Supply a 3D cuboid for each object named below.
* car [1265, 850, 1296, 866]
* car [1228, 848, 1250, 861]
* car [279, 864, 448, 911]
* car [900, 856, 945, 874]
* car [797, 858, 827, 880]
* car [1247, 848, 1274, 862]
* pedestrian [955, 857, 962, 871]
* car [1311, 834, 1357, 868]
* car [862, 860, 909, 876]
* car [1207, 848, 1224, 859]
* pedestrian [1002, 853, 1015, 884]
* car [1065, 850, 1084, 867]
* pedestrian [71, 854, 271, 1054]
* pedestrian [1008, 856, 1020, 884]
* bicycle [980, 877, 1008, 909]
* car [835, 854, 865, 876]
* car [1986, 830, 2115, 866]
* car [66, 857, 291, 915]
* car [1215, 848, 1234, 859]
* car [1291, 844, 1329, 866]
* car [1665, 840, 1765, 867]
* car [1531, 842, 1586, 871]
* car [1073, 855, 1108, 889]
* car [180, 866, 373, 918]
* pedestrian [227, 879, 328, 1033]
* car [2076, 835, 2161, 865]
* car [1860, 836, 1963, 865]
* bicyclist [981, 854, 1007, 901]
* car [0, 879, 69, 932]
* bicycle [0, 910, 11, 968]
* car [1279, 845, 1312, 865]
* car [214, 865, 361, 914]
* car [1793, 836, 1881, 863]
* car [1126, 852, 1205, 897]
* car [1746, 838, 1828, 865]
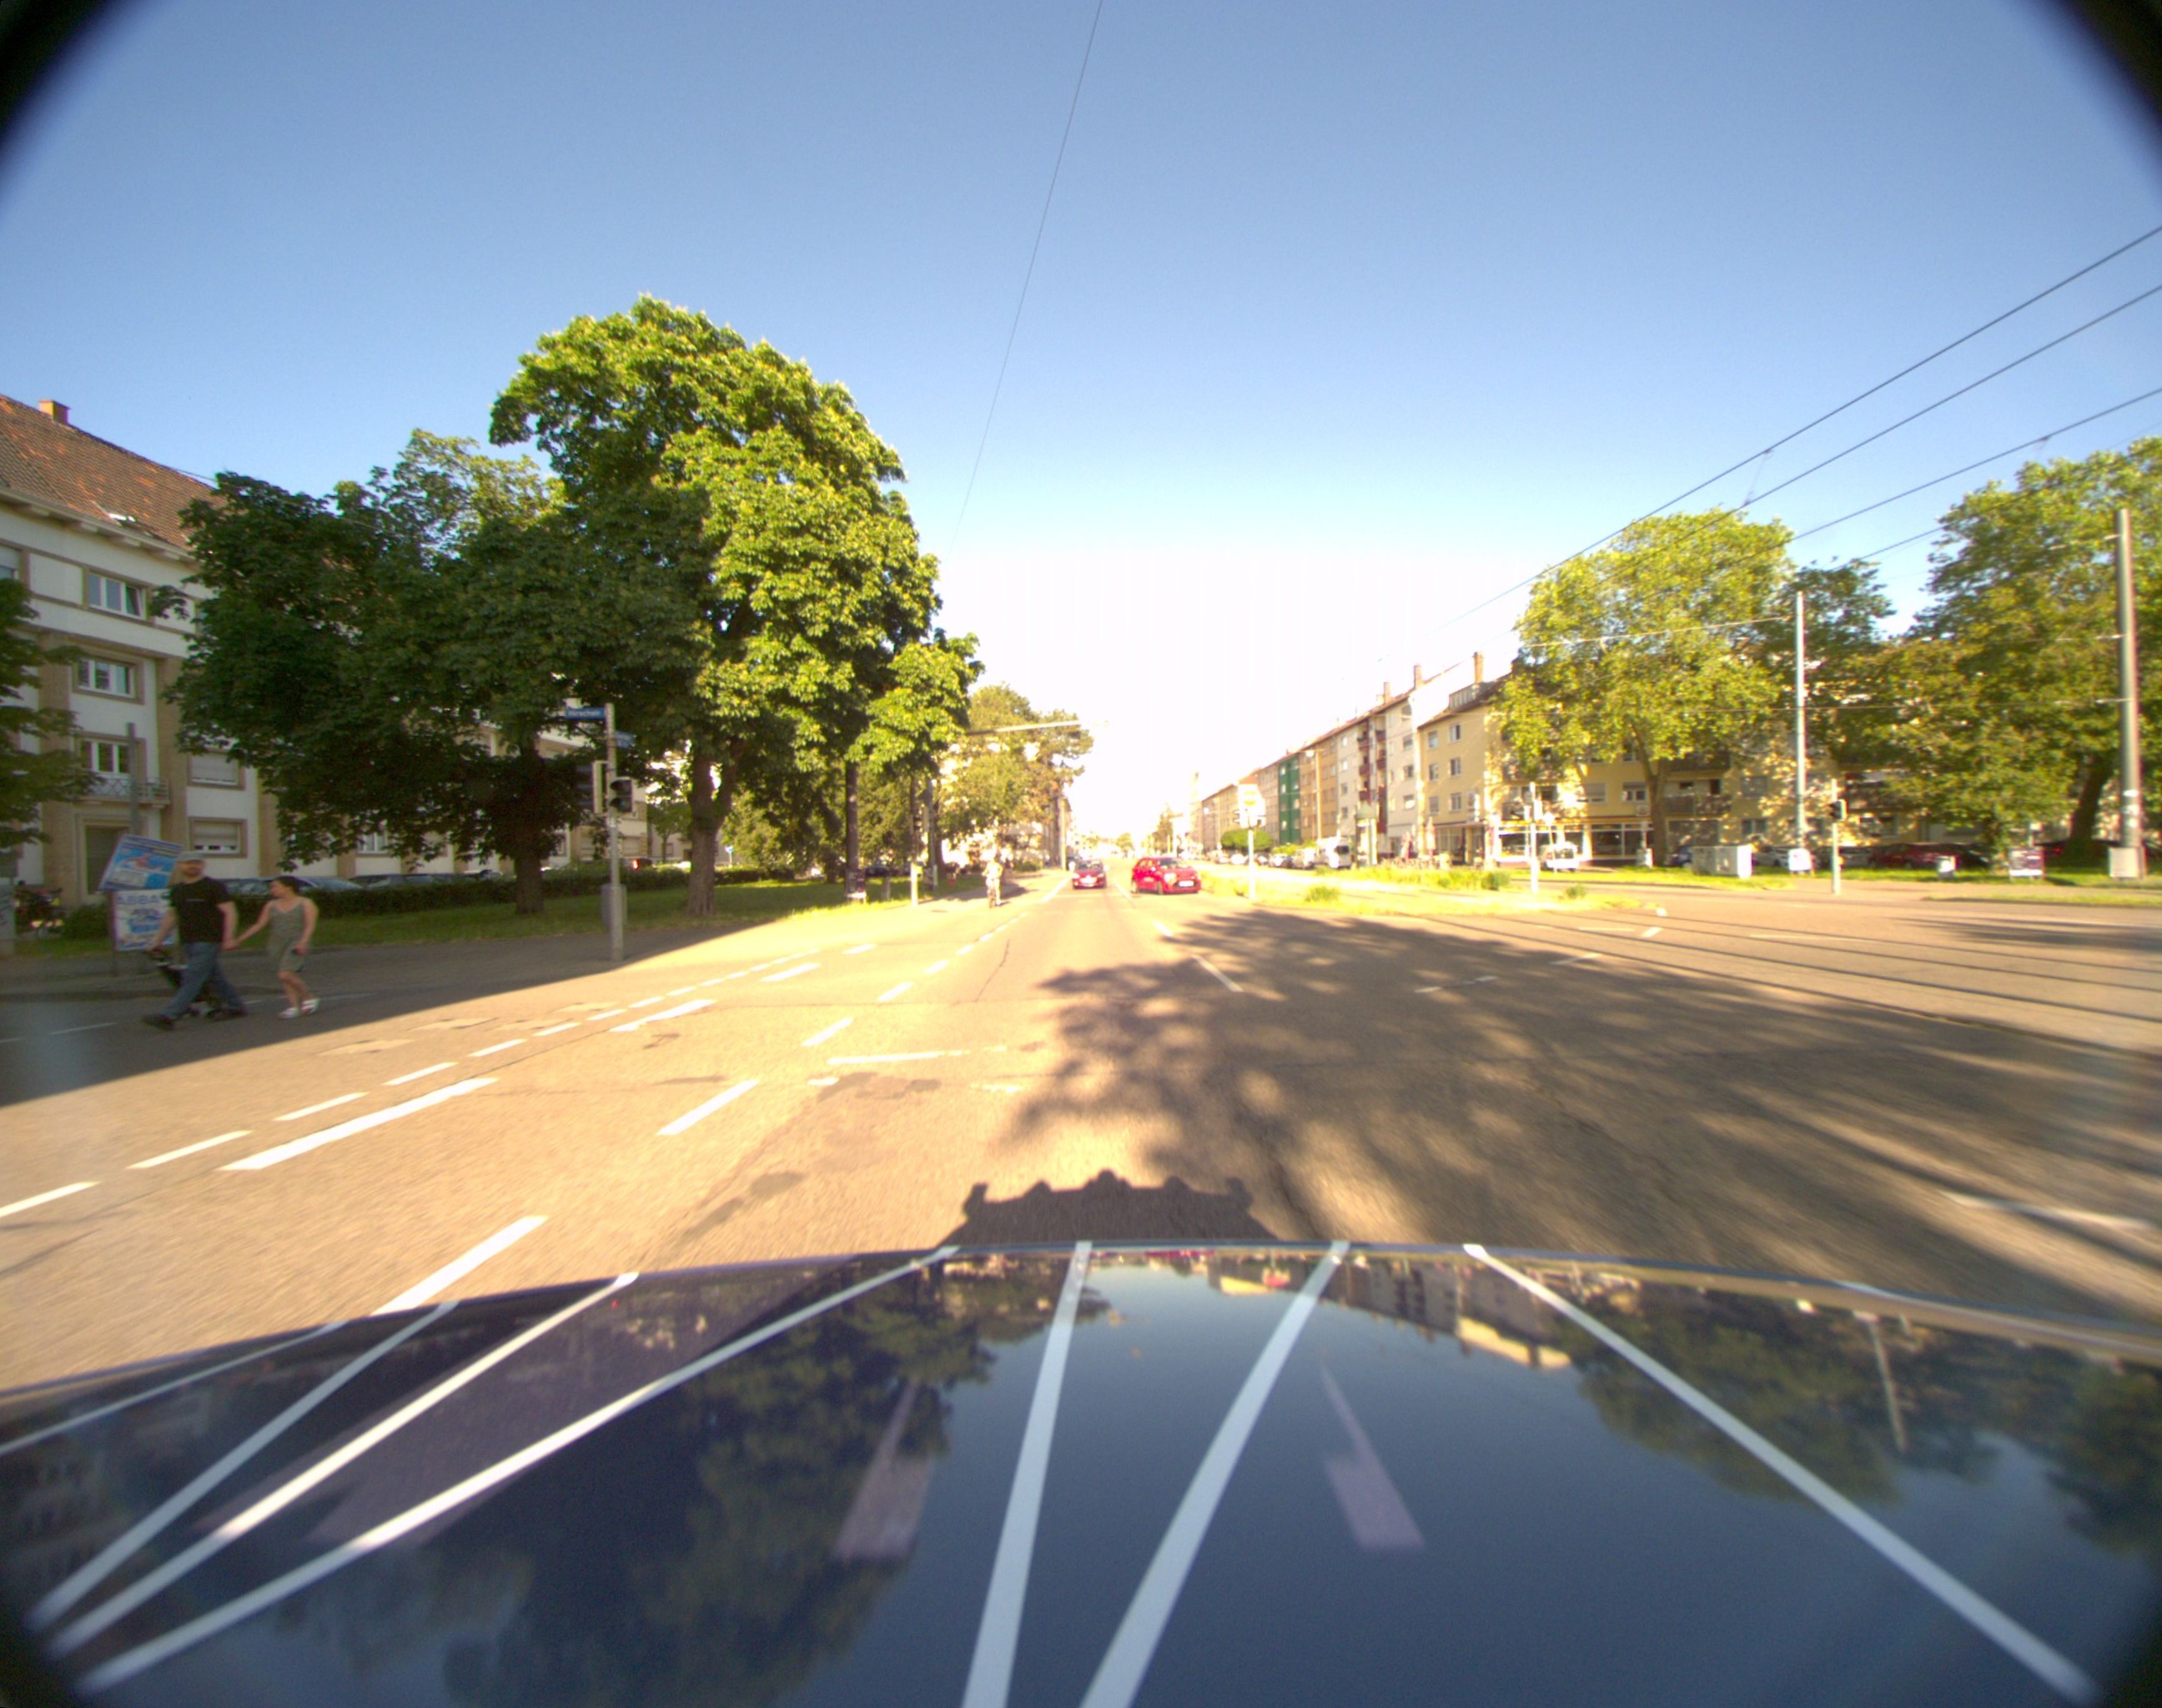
[{"bbox_3d":[22.244,0.446,84.807,2.144,1.697,5.157,-2,0,1],"label":"car"},{"bbox_3d":[22.858,0.022,110.197,2.144,1.697,5.446,-2,0,1],"label":"car"},{"bbox_3d":[-24.839,1.132,26.415,3.996,1.440,2.000,-2,1,2],"label":"car"},{"bbox_3d":[-12.392,0.841,59.669,1.997,1.316,4.280,-1,0,10],"label":"car"},{"bbox_3d":[-22.227,1.231,62.989,2.001,1.689,4.271,-2,1,-16],"label":"car"},{"bbox_3d":[22.340,0.129,94.681,2.144,1.697,5.446,-2,0,1],"label":"car"},{"bbox_3d":[-9.715,0.793,60.232,0.459,1.072,0.613,-2,1,1],"label":"pedestrian"},{"bbox_3d":[21.841,-0.268,65.825,2.230,2.808,5.229,-2,1,1],"label":"car"},{"bbox_3d":[-15.399,1.112,60.113,1.997,1.060,4.280,-1,0,10],"label":"car"},{"bbox_3d":[23.043,-0.096,130.239,2.144,1.697,5.402,-2,0,1],"label":"car"},{"bbox_3d":[-4.032,0.775,42.190,0.567,1.688,0.595,-2,1,-17],"label":"pedestrian"},{"bbox_3d":[-0.746,0.443,85.976,1.998,1.806,4.000,-2,0,1],"label":"car"},{"bbox_3d":[-8.951,0.913,7.544,0.790,1.817,1.032,0,2,-16],"label":"pedestrian"},{"bbox_3d":[-3.647,0.857,41.453,0.596,1.518,0.633,-1,1,-9],"label":"pedestrian"},{"bbox_3d":[-2.792,1.245,24.633,0.684,0.925,1.736,-1,0,0],"label":"bicycle"},{"bbox_3d":[-18.803,0.863,61.993,2.001,1.689,4.272,-2,1,-12],"label":"car"},{"bbox_3d":[49.250,-0.313,38.729,1.997,1.695,3.938,-1,1,12],"label":"car"},{"bbox_3d":[-25.268,0.866,21.397,3.996,1.440,2.000,-2,1,2],"label":"car"},{"bbox_3d":[23.249,-0.067,123.371,2.144,1.697,5.402,-2,0,1],"label":"car"},{"bbox_3d":[21.936,0.089,72.994,2.144,2.022,5.157,-2,0,1],"label":"car"},{"bbox_3d":[35.200,-0.008,42.315,3.990,1.429,1.720,-1,1,24],"label":"car"},{"bbox_3d":[32.259,0.141,51.482,1.909,1.871,4.003,-1,1,12],"label":"car"},{"bbox_3d":[0.541,0.842,38.261,1.619,1.537,4.277,-2,0,2],"label":"car"},{"bbox_3d":[-25.337,1.166,24.034,3.996,1.440,2.000,-2,1,2],"label":"car"},{"bbox_3d":[-8.448,1.047,8.008,0.505,1.537,0.518,0,2,-16],"label":"pedestrian"},{"bbox_3d":[58.166,-0.223,41.838,1.997,1.543,3.938,-1,1,12],"label":"car"},{"bbox_3d":[40.081,-0.202,36.816,1.641,1.300,4.005,-1,1,19],"label":"car"},{"bbox_3d":[-2.802,0.753,24.583,0.678,1.466,0.936,-2,1,1],"label":"bicyclist"},{"bbox_3d":[-33.928,1.632,22.760,1.846,1.560,3.999,-2,0,-1],"label":"car"},{"bbox_3d":[-20.869,1.636,13.760,0.365,1.088,1.829,-1,0,-1],"label":"bicycle"},{"bbox_3d":[22.145,0.075,78.602,2.144,2.022,4.864,-2,1,1],"label":"car"},{"bbox_3d":[-33.465,1.442,32.242,1.999,1.833,3.999,-2,1,-1],"label":"car"},{"bbox_3d":[46.191,-0.271,46.549,1.997,1.543,3.938,-1,1,12],"label":"car"},{"bbox_3d":[3.214,0.750,29.545,1.545,1.522,3.597,-4,1,-19],"label":"car"},{"bbox_3d":[43.828,-0.173,47.307,1.997,1.543,3.938,-1,1,12],"label":"car"}]
